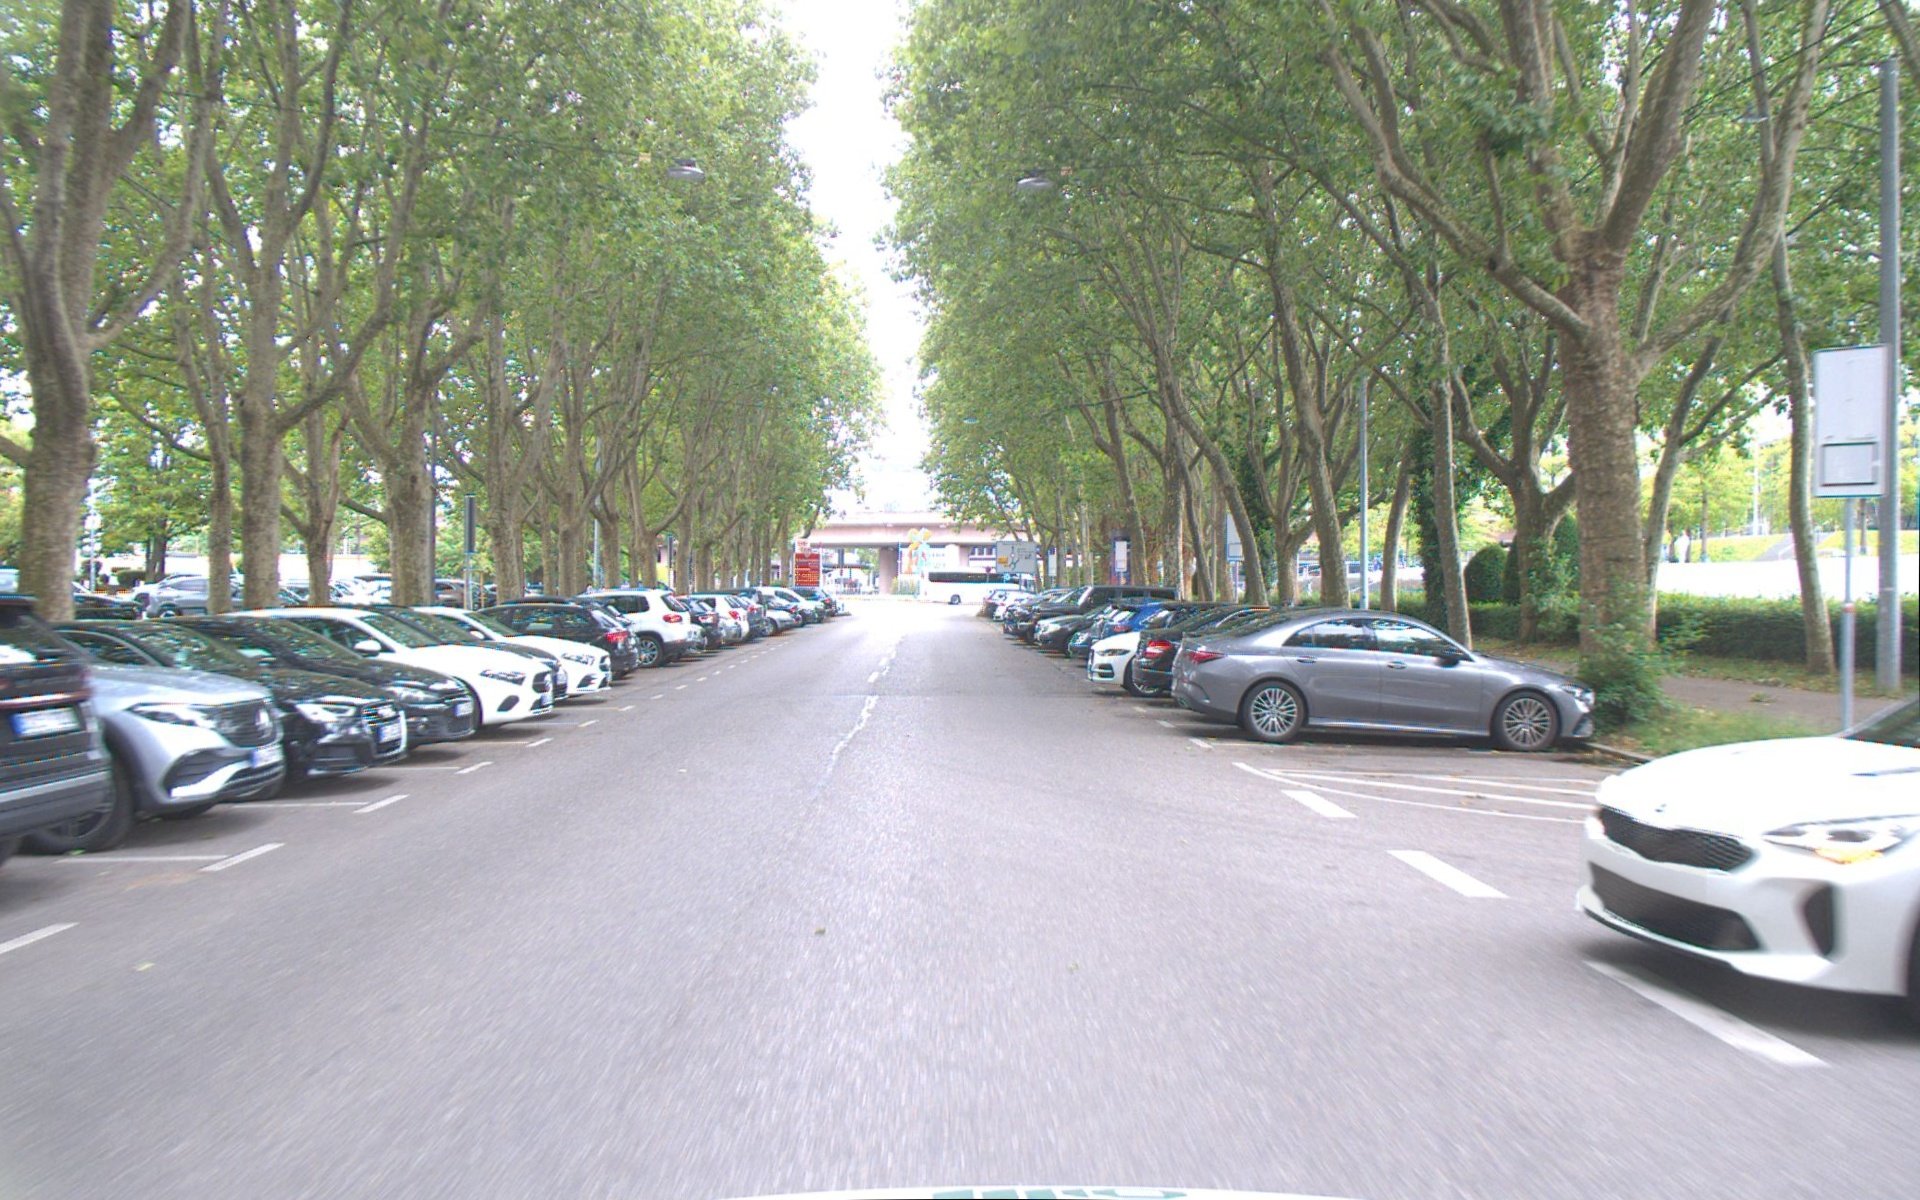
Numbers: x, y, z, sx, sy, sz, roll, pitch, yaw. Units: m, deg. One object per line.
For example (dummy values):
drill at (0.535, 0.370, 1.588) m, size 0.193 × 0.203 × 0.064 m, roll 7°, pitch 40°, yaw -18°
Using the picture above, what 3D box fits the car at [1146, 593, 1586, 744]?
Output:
car at (4.391, 0.717, 18.491) m, size 4.478 × 1.512 × 2.001 m, roll 1°, pitch 0°, yaw 3°

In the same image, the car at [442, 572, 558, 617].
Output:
car at (-22.328, -0.260, 80.369) m, size 4.972 × 2.050 × 2.176 m, roll 1°, pitch 0°, yaw 2°

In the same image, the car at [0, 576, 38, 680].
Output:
car at (-23.343, 0.558, 36.306) m, size 4.972 × 2.271 × 2.176 m, roll 1°, pitch 0°, yaw 2°

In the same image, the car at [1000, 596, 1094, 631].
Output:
car at (4.103, 0.630, 78.691) m, size 4.290 × 1.549 × 1.730 m, roll 1°, pitch 0°, yaw -4°

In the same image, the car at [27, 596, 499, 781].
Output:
car at (-6.515, 0.790, 15.778) m, size 3.738 × 1.510 × 1.661 m, roll -2°, pitch 0°, yaw -3°

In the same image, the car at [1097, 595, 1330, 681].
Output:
car at (4.612, 0.668, 30.504) m, size 4.088 × 1.467 × 1.732 m, roll 1°, pitch 0°, yaw 3°

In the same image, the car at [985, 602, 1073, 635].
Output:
car at (3.430, 0.912, 82.646) m, size 4.287 × 1.549 × 1.731 m, roll 1°, pitch 0°, yaw -1°

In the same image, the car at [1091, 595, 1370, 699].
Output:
car at (4.099, 0.696, 25.567) m, size 4.088 × 1.467 × 1.732 m, roll 1°, pitch 0°, yaw 3°

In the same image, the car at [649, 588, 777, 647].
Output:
car at (-7.912, 0.542, 53.235) m, size 3.734 × 1.719 × 1.687 m, roll -2°, pitch 0°, yaw 4°

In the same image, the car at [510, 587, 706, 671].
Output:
car at (-7.567, 0.604, 35.744) m, size 3.734 × 1.630 × 1.787 m, roll -2°, pitch 0°, yaw 4°

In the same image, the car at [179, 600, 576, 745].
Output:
car at (-6.345, 0.768, 18.267) m, size 3.734 × 1.377 × 1.663 m, roll -2°, pitch 0°, yaw 4°

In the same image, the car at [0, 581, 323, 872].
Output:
car at (-6.732, 0.818, 10.815) m, size 4.383 × 1.706 × 1.761 m, roll -2°, pitch 0°, yaw -3°

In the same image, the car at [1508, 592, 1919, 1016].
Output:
car at (5.108, 0.814, 7.123) m, size 4.845 × 1.427 × 1.994 m, roll 3°, pitch 0°, yaw -12°

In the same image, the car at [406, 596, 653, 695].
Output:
car at (-7.365, 0.767, 28.489) m, size 3.734 × 1.510 × 1.663 m, roll -2°, pitch 0°, yaw 4°

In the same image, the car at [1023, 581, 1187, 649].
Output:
car at (3.992, 0.413, 45.873) m, size 4.290 × 1.782 × 1.730 m, roll 1°, pitch 0°, yaw -4°

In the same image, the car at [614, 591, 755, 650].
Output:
car at (-8.037, 0.587, 48.467) m, size 3.734 × 1.542 × 1.687 m, roll -2°, pitch 0°, yaw 4°

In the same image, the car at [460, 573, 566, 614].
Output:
car at (-23.567, -0.352, 87.322) m, size 4.972 × 2.050 × 2.176 m, roll 1°, pitch 0°, yaw 2°

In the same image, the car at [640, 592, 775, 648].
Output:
car at (-7.704, 0.603, 50.641) m, size 3.734 × 1.542 × 1.687 m, roll -2°, pitch 0°, yaw 4°

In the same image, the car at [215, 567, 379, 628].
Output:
car at (-23.805, -0.094, 59.527) m, size 4.972 × 2.050 × 2.176 m, roll 1°, pitch 0°, yaw 2°

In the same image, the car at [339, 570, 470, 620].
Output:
car at (-24.379, -0.231, 72.688) m, size 4.972 × 2.050 × 2.176 m, roll 1°, pitch 0°, yaw 2°

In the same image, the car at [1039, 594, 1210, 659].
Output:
car at (4.016, 0.644, 40.760) m, size 3.968 × 1.494 × 1.730 m, roll 1°, pitch 0°, yaw -4°

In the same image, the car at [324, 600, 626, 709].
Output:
car at (-6.841, 0.755, 23.560) m, size 3.734 × 1.354 × 1.663 m, roll -2°, pitch 0°, yaw 4°

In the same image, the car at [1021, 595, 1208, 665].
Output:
car at (3.455, 0.664, 37.359) m, size 3.968 × 1.494 × 1.730 m, roll 1°, pitch 0°, yaw -4°

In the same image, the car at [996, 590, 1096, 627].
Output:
car at (3.860, 0.374, 74.613) m, size 4.290 × 1.549 × 1.730 m, roll 1°, pitch 0°, yaw -4°

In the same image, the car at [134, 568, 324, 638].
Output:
car at (-22.846, 0.076, 51.821) m, size 4.972 × 2.050 × 2.176 m, roll 1°, pitch 0°, yaw 2°

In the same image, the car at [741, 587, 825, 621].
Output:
car at (-8.341, 0.174, 78.028) m, size 3.735 × 1.542 × 1.686 m, roll 1°, pitch 0°, yaw 2°

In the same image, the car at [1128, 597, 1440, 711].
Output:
car at (4.451, 0.720, 23.209) m, size 4.088 × 1.467 × 1.732 m, roll 1°, pitch 0°, yaw 3°

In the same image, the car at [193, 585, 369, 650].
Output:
car at (-22.873, 0.578, 55.838) m, size 4.972 × 2.050 × 2.176 m, roll 1°, pitch 0°, yaw 2°

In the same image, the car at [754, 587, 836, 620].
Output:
car at (-8.017, 0.171, 80.429) m, size 3.735 × 1.542 × 1.686 m, roll 1°, pitch 0°, yaw 2°

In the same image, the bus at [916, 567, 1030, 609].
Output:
bus at (1.320, -1.232, 169.278) m, size 11.372 × 4.040 × 2.447 m, roll -1°, pitch -1°, yaw -13°

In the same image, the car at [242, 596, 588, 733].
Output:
car at (-6.782, 0.778, 20.828) m, size 3.734 × 1.510 × 1.663 m, roll -2°, pitch 0°, yaw 3°

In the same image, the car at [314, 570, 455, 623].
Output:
car at (-23.688, -0.165, 68.198) m, size 4.972 × 2.050 × 2.176 m, roll 1°, pitch 0°, yaw 2°

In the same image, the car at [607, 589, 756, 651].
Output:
car at (-7.688, 0.536, 45.839) m, size 3.734 × 1.542 × 1.687 m, roll -2°, pitch 0°, yaw 4°

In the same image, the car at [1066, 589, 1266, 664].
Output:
car at (4.334, 0.553, 35.170) m, size 3.968 × 1.494 × 1.730 m, roll 1°, pitch 0°, yaw -4°

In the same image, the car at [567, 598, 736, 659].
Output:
car at (-7.599, 0.684, 40.897) m, size 3.734 × 1.319 × 1.787 m, roll -2°, pitch 0°, yaw 4°

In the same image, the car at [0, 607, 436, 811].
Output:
car at (-6.590, 0.847, 13.387) m, size 4.084 × 1.405 × 1.870 m, roll -2°, pitch 0°, yaw -3°

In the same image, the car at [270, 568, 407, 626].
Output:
car at (-23.256, -0.134, 62.008) m, size 4.261 × 2.050 × 2.176 m, roll 1°, pitch 0°, yaw 2°

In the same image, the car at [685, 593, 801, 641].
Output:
car at (-7.662, 0.589, 58.614) m, size 3.734 × 1.542 × 1.687 m, roll -2°, pitch 0°, yaw 4°

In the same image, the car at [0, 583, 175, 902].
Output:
car at (-6.703, 0.728, 8.227) m, size 4.572 × 1.452 × 1.999 m, roll -2°, pitch 0°, yaw -3°

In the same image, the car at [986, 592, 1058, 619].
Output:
car at (3.741, 0.308, 99.986) m, size 4.287 × 1.549 × 1.731 m, roll 1°, pitch 0°, yaw -1°
